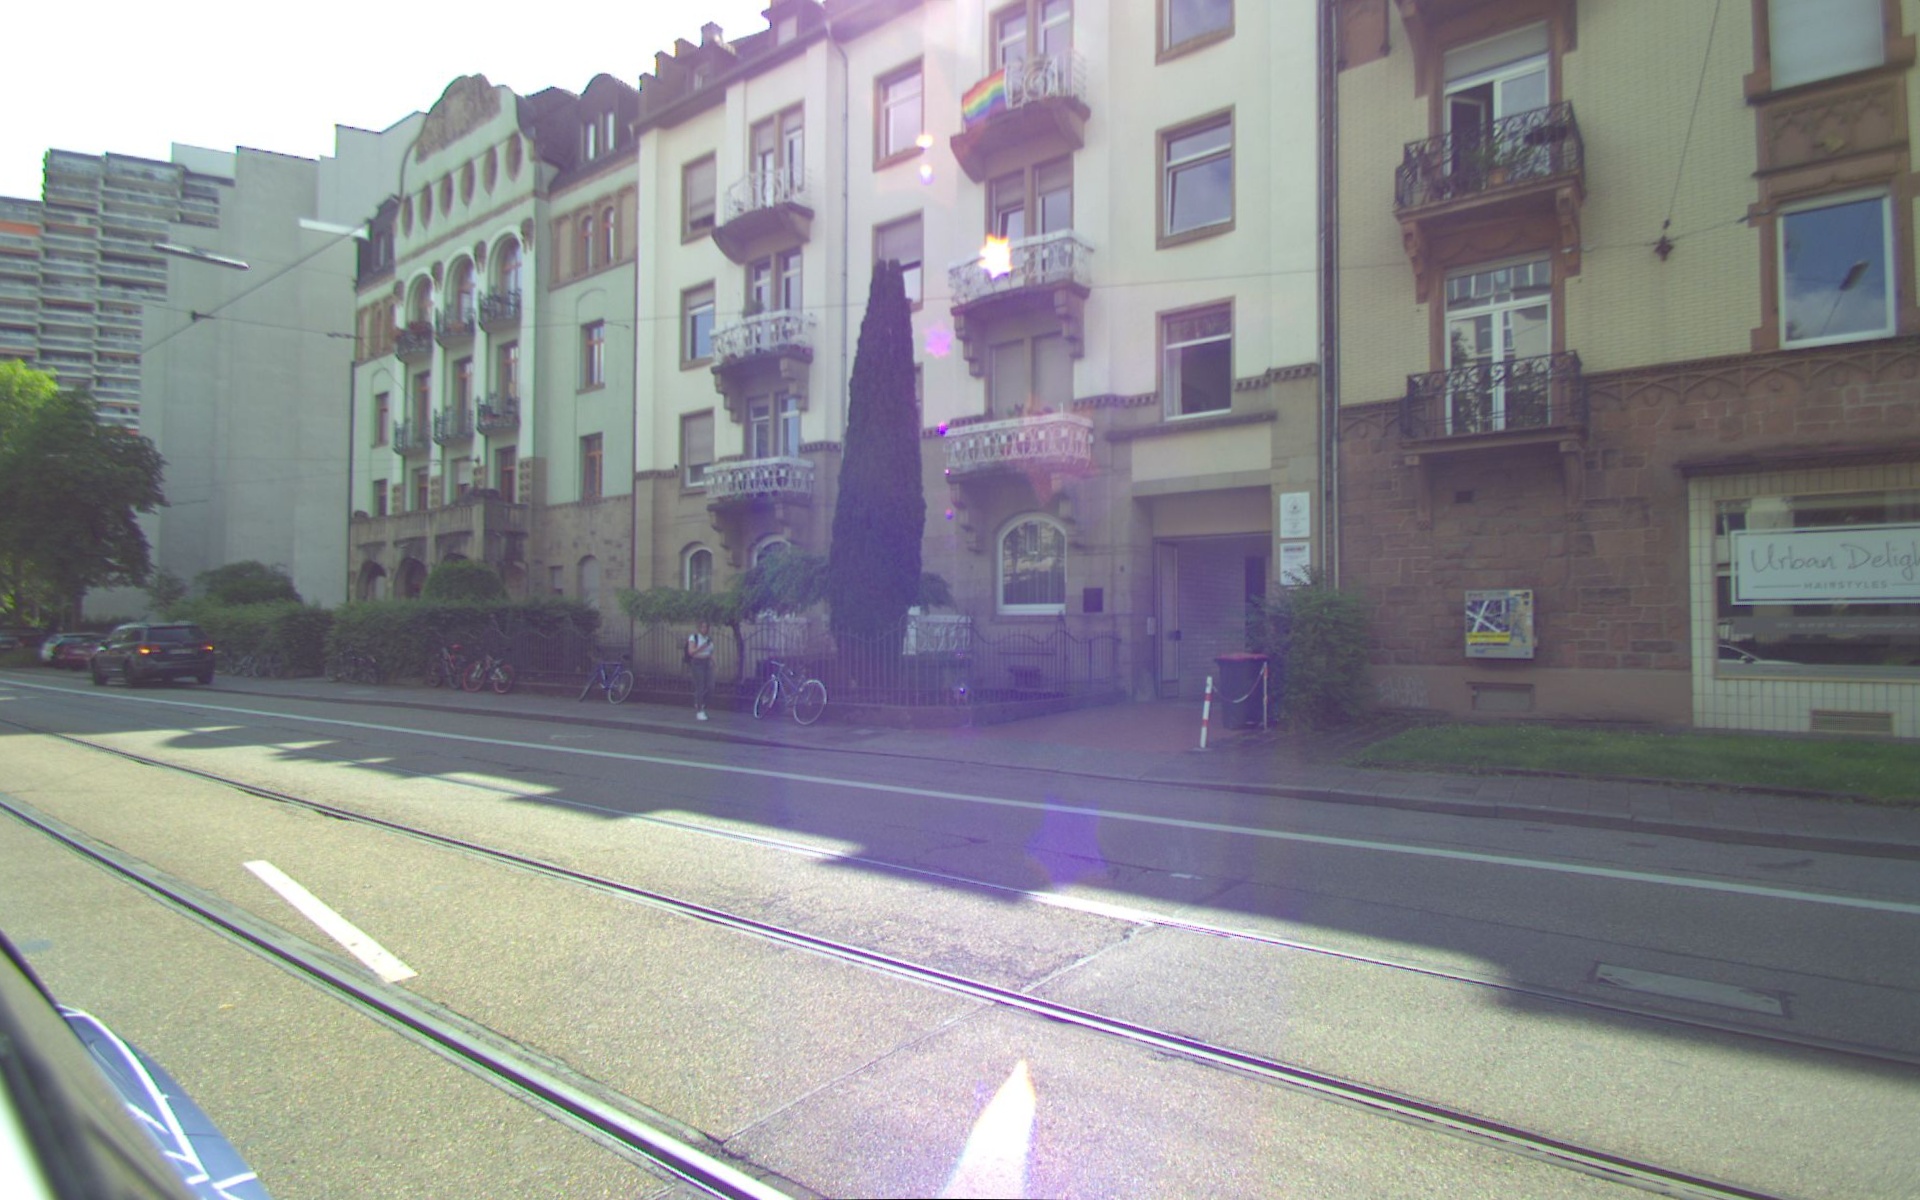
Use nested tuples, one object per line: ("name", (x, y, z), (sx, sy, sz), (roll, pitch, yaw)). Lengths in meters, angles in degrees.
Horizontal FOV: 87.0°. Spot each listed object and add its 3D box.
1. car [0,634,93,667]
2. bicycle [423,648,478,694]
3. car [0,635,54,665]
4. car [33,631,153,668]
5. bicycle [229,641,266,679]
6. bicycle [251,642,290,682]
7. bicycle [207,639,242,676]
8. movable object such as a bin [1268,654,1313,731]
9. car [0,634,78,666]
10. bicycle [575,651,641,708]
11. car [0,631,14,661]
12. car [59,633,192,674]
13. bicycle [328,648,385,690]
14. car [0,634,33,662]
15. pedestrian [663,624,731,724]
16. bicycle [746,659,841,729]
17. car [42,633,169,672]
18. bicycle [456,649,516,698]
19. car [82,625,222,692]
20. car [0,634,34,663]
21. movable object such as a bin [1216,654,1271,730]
("car", (-43.516, 2.358, 47.730), (3.938, 1.519, 2.002), (2, -3, -42))
("bicycle", (-11.717, 1.605, 23.250), (1.785, 1.003, 0.462), (-2, -3, 40))
("car", (-48.648, 2.530, 51.365), (3.938, 1.519, 2.002), (2, -3, -42))
("car", (-38.208, 2.156, 44.658), (3.938, 1.519, 2.002), (2, -3, -42))
("bicycle", (-22.068, 1.841, 31.339), (1.785, 1.144, 0.462), (-2, -3, 40))
("bicycle", (-20.545, 1.822, 30.136), (1.785, 1.144, 0.462), (-2, -3, 40))
("bicycle", (-23.721, 1.839, 32.631), (1.785, 1.144, 0.462), (-2, -3, 40))
("movable object such as a bin", (4.615, 1.283, 14.162), (0.531, 1.037, 0.475), (0, -2, 11))
("car", (-45.968, 2.437, 49.712), (3.938, 1.519, 2.002), (2, -3, -42))
("bicycle", (-6.720, 1.490, 19.283), (0.461, 1.003, 1.788), (2, -3, -45))
("car", (-56.421, 2.621, 57.408), (3.938, 1.695, 2.002), (2, -3, -42))
("car", (-32.925, 2.072, 39.983), (3.938, 1.519, 2.002), (2, -3, -42))
("bicycle", (-15.187, 1.711, 25.466), (1.979, 1.003, 0.597), (-2, -3, 40))
("car", (-53.524, 2.639, 55.457), (3.938, 1.519, 2.002), (2, -3, -42))
("pedestrian", (-4.222, 1.162, 16.256), (0.764, 1.553, 0.749), (-2, -3, 39))
("bicycle", (-2.652, 1.453, 15.975), (0.461, 1.003, 1.980), (2, -3, -43))
("car", (-35.605, 2.158, 42.241), (3.938, 1.519, 2.002), (2, -3, -42))
("bicycle", (-10.303, 1.568, 21.985), (1.785, 1.003, 0.462), (-2, -3, 40))
("car", (-22.284, 1.564, 27.861), (4.393, 1.708, 1.899), (-1, -2, 36))
("car", (-51.337, 2.562, 53.150), (3.938, 1.519, 2.002), (2, -3, -42))
("movable object such as a bin", (3.987, 1.290, 14.272), (0.697, 1.037, 0.475), (0, -2, 11))
